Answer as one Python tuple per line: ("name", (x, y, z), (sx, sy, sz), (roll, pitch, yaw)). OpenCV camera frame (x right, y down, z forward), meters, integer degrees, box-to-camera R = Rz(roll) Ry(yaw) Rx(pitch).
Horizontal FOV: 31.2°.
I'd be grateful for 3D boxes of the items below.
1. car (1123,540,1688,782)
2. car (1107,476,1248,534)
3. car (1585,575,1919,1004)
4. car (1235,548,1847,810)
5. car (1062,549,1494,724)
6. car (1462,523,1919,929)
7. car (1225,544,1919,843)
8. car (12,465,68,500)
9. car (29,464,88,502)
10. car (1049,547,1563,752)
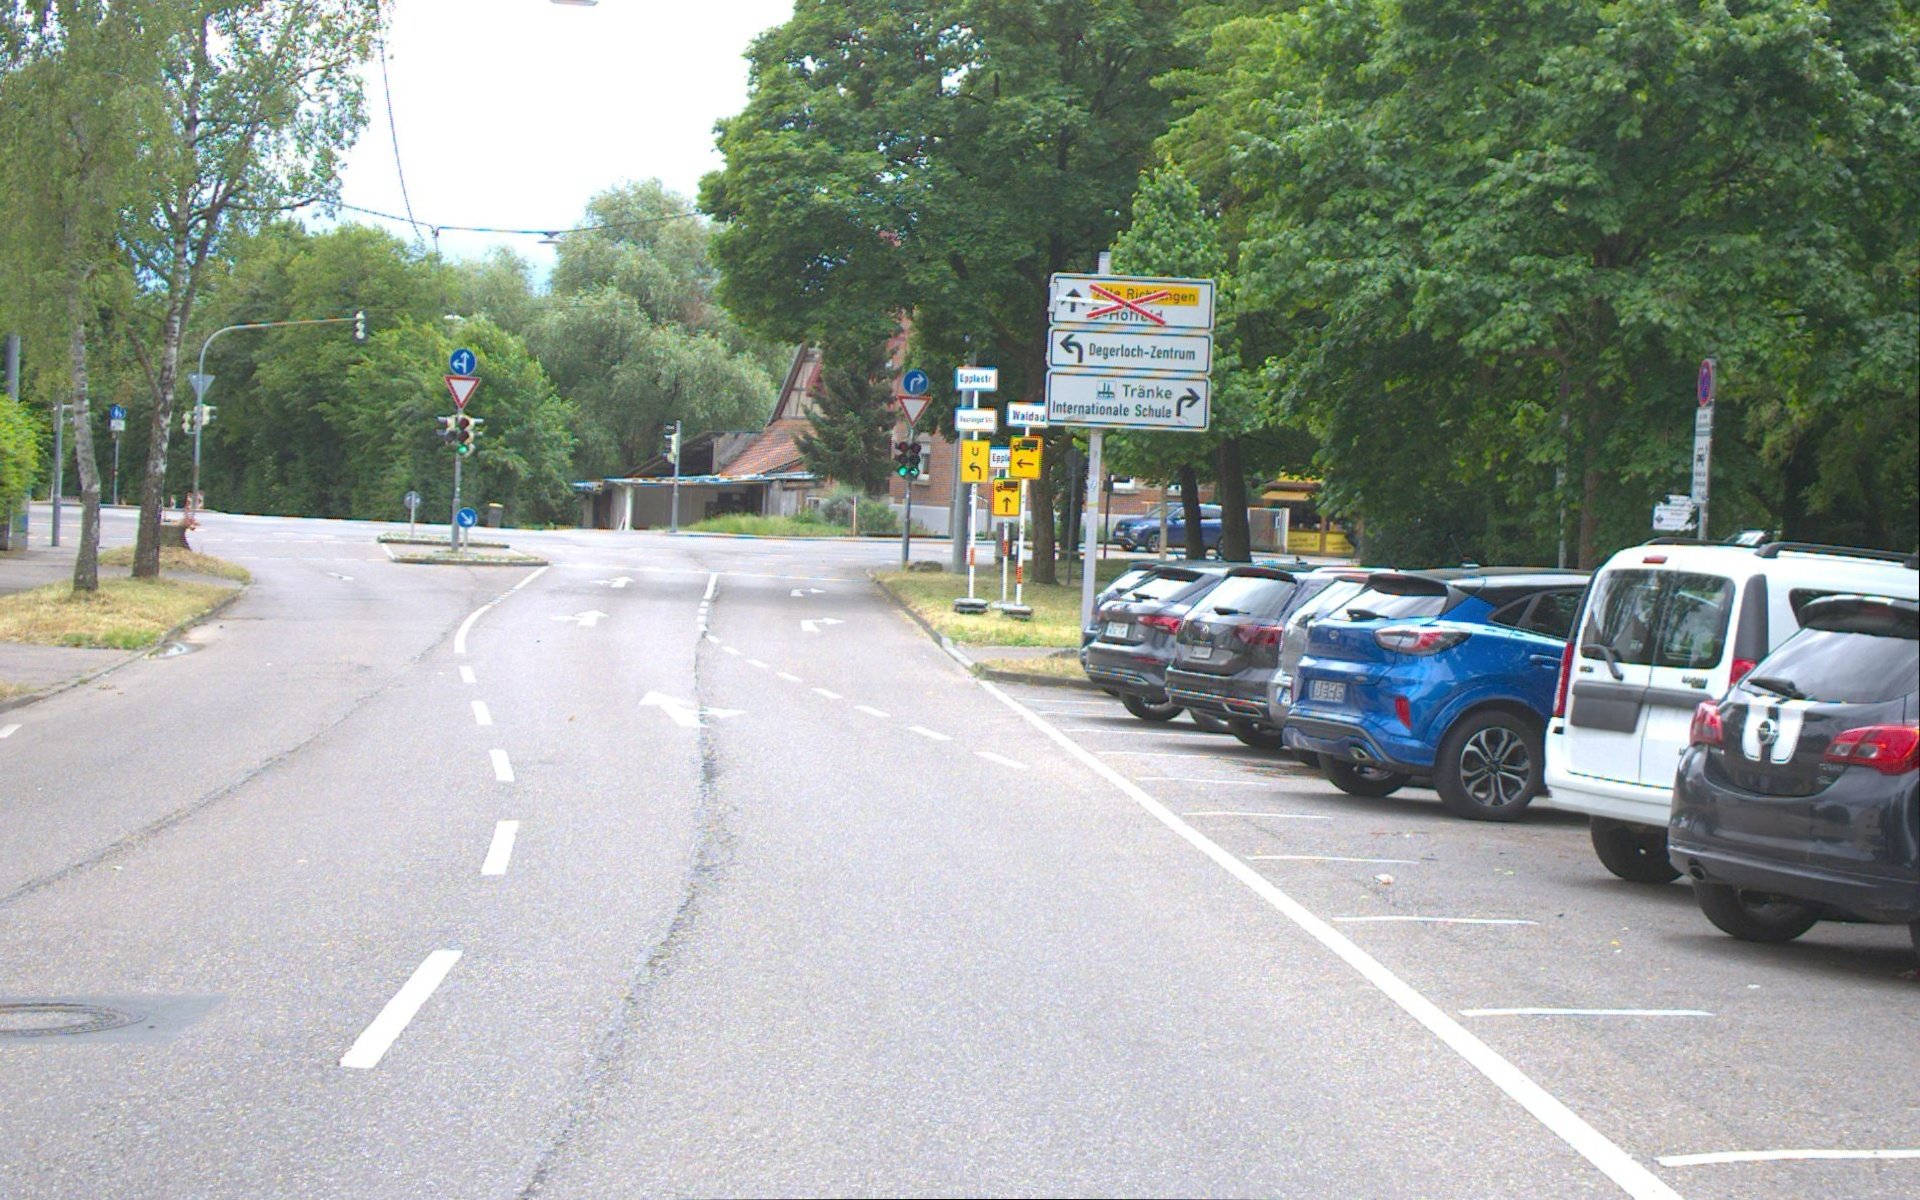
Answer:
("car", (3.400, 0.461, 26.313), (3.817, 1.523, 1.747), (5, 0, -22))
("car", (6.785, -2.971, 107.290), (3.844, 1.641, 2.001), (1, 2, -24))
("car", (4.698, 0.813, 13.885), (3.817, 1.463, 1.747), (5, 1, -22))
("car", (4.105, 0.556, 24.346), (3.817, 1.523, 1.747), (5, 0, -22))
("car", (3.162, 0.361, 34.243), (3.817, 1.420, 1.747), (5, 0, -22))
("car", (4.638, 0.649, 16.657), (3.817, 1.714, 1.879), (5, 0, -22))
("car", (3.806, 0.578, 21.373), (3.817, 1.523, 1.747), (5, 0, -22))
("car", (-40.017, -5.115, 149.504), (1.794, 1.405, 4.001), (1, 2, -23))
("car", (-37.678, -4.897, 143.596), (1.794, 1.507, 4.001), (1, 2, -23))
("car", (2.953, 0.420, 29.438), (3.872, 1.421, 1.831), (5, 0, -22))
